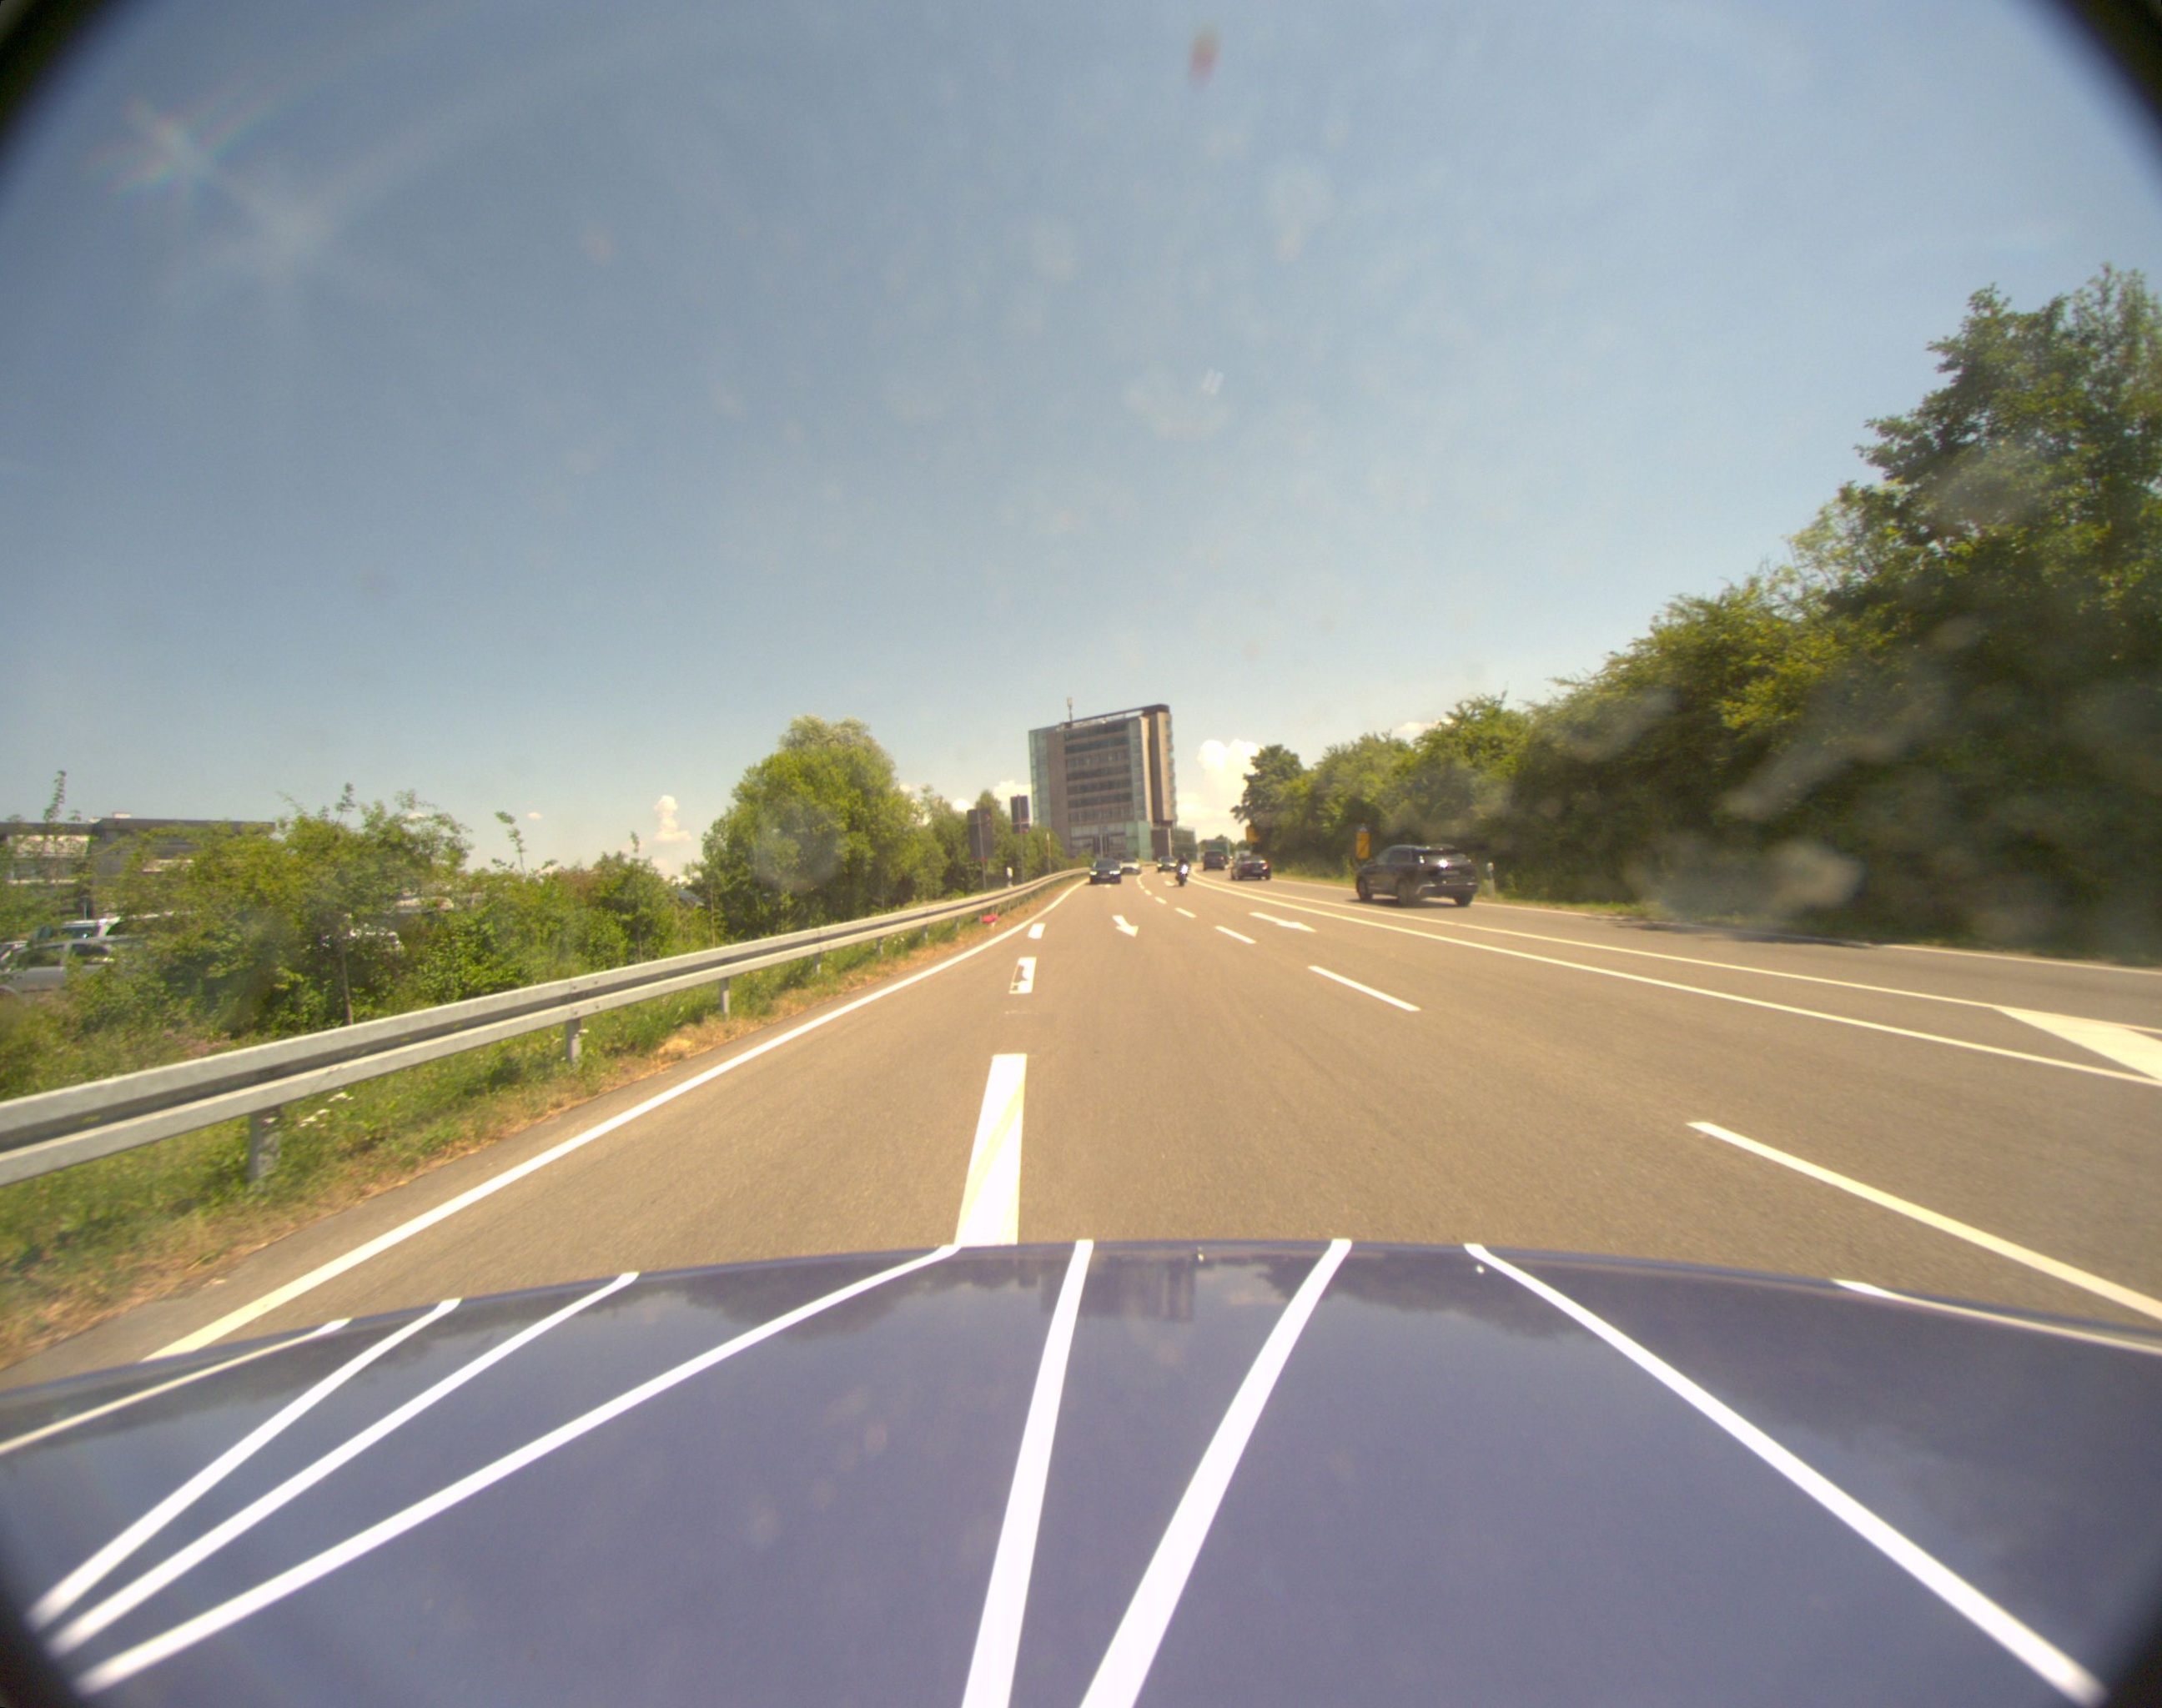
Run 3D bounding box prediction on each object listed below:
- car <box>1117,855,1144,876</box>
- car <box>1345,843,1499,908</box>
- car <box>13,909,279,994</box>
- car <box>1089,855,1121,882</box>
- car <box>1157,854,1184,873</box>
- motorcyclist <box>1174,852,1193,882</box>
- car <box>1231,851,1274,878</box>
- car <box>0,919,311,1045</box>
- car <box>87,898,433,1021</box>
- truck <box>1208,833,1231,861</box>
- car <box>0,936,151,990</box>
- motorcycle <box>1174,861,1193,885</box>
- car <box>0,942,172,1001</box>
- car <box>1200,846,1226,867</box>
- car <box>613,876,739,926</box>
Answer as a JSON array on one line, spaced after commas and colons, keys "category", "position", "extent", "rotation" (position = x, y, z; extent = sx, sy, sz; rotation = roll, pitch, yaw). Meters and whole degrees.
[{"category": "car", "position": [4.332, 1.029, 66.117], "extent": [1.933, 1.576, 4.184], "rotation": [-4, -3, 8]}, {"category": "car", "position": [9.473, 0.547, 21.623], "extent": [1.999, 1.583, 4.680], "rotation": [-1, 0, -4]}, {"category": "car", "position": [-30.124, 3.052, 24.724], "extent": [1.995, 2.157, 5.163], "rotation": [-5, -3, 30]}, {"category": "car", "position": [1.477, 0.863, 45.230], "extent": [1.779, 1.497, 4.562], "rotation": [-2, -1, 3]}, {"category": "car", "position": [8.445, 0.890, 71.356], "extent": [2.116, 1.581, 4.454], "rotation": [-2, 0, 11]}, {"category": "motorcyclist", "position": [5.100, 0.653, 37.809], "extent": [0.860, 1.479, 1.162], "rotation": [-1, 0, 3]}, {"category": "car", "position": [9.874, 0.565, 44.003], "extent": [1.821, 1.433, 4.645], "rotation": [-1, 0, 5]}, {"category": "car", "position": [-18.026, 2.405, 14.643], "extent": [4.305, 1.956, 2.001], "rotation": [-4, -2, 1]}, {"category": "car", "position": [-18.492, 2.300, 17.374], "extent": [5.233, 2.244, 2.135], "rotation": [-4, -2, -5]}, {"category": "truck", "position": [19.301, -0.965, 105.649], "extent": [2.873, 3.553, 9.438], "rotation": [-2, 0, 11]}, {"category": "car", "position": [-39.939, 4.248, 29.866], "extent": [1.942, 1.559, 4.007], "rotation": [-2, 0, 31]}, {"category": "motorcycle", "position": [5.106, 0.936, 37.933], "extent": [0.734, 1.131, 2.073], "rotation": [-1, 0, 3]}, {"category": "car", "position": [-37.815, 4.371, 28.795], "extent": [1.942, 1.559, 4.007], "rotation": [-2, 0, 31]}, {"category": "car", "position": [12.483, 0.233, 71.991], "extent": [1.998, 1.883, 5.106], "rotation": [-2, 0, 5]}, {"category": "car", "position": [-18.717, 2.167, 35.236], "extent": [4.689, 1.956, 2.001], "rotation": [-4, -2, 3]}]
